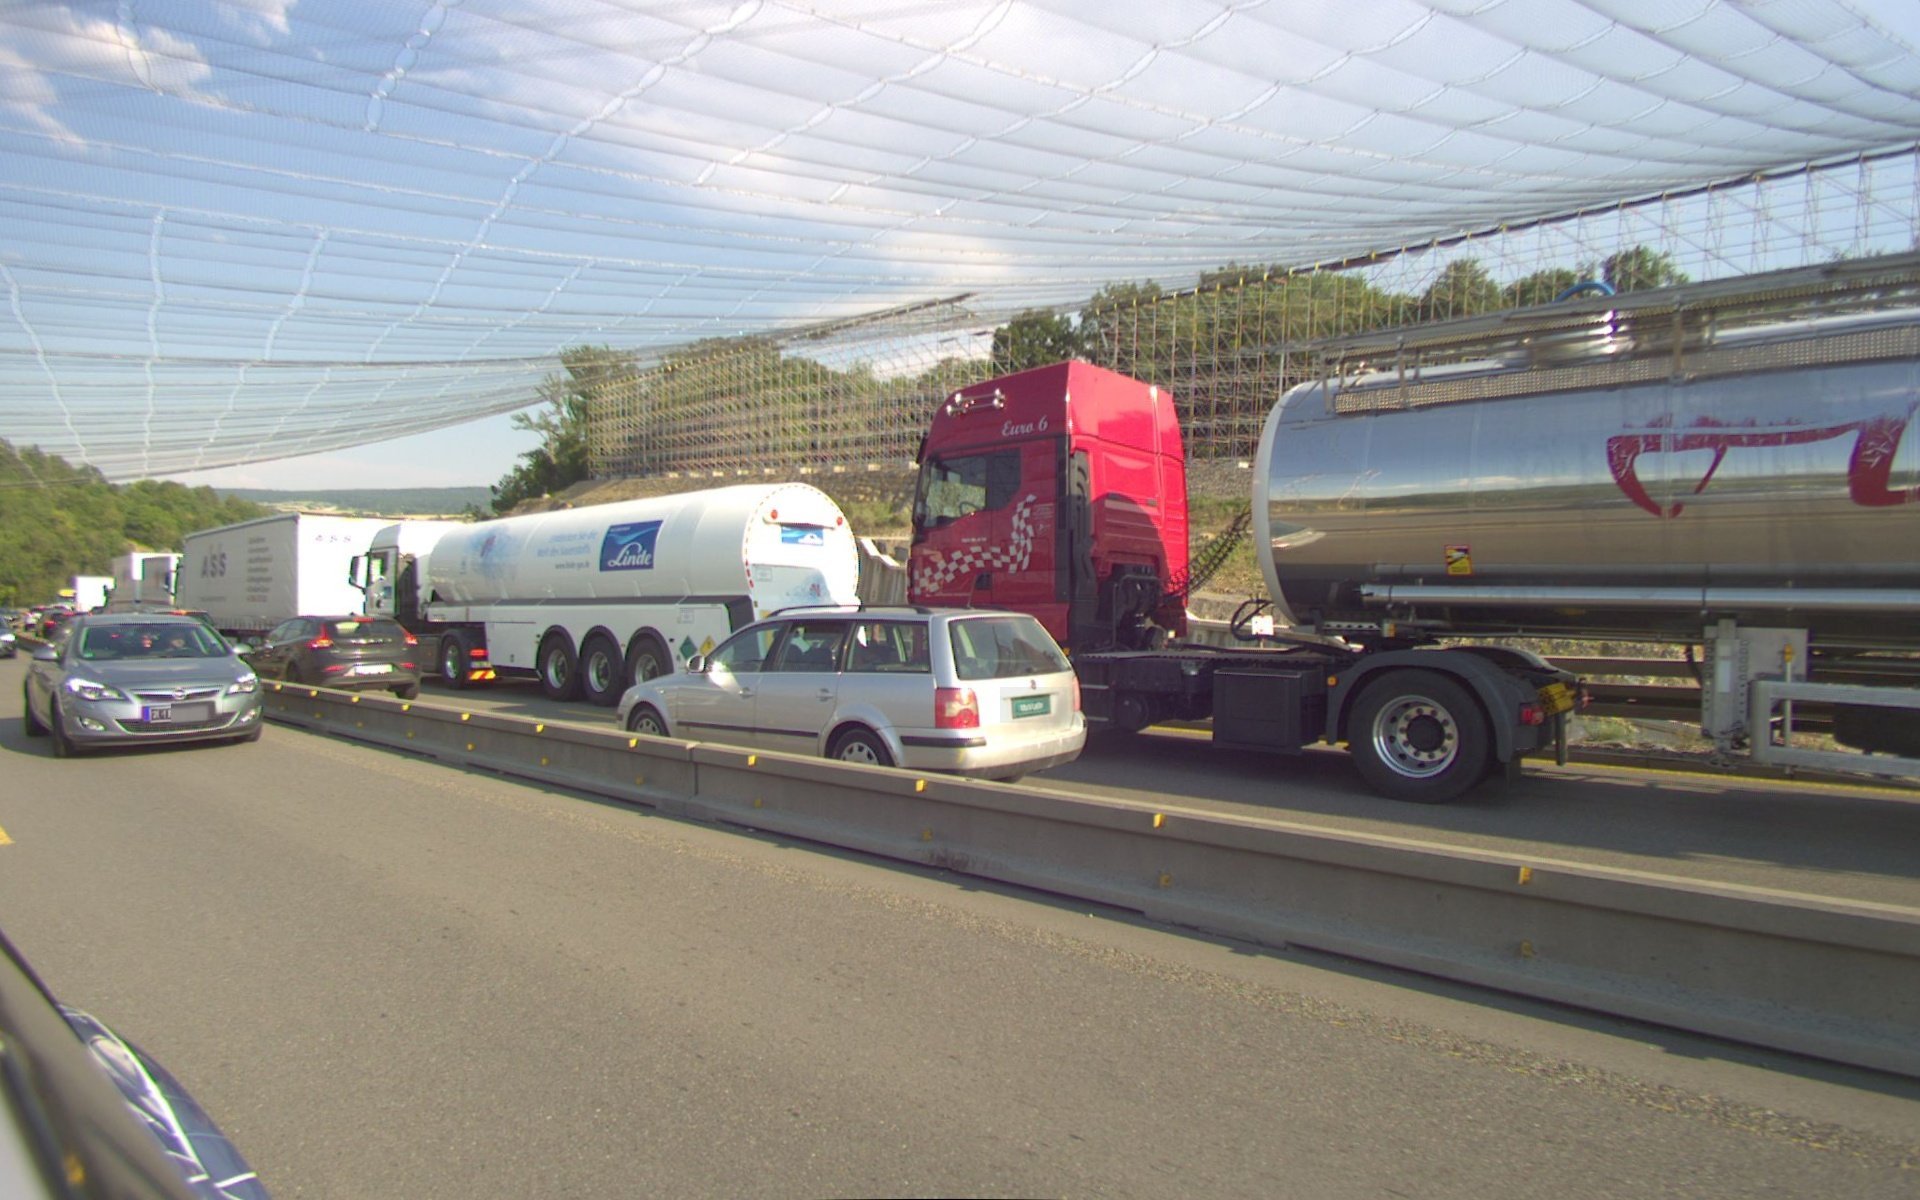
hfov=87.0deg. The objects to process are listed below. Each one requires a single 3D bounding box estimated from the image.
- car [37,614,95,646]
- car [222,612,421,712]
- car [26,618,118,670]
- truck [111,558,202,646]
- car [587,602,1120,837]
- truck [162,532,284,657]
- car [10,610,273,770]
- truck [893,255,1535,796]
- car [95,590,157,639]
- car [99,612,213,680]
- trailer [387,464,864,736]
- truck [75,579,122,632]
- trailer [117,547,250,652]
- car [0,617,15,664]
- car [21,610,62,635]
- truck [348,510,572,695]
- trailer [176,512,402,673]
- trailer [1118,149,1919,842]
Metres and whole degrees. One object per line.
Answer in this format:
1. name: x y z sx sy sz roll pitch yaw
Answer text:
1. car: -40.287 1.325 45.568 3.900 1.386 1.590 0 -1 43
2. car: -10.670 0.930 16.779 4.385 1.437 1.610 0 -1 41
3. car: -26.914 1.269 30.623 4.245 1.408 1.773 -1 -1 44
4. truck: -38.801 0.097 48.775 7.208 3.939 2.601 -1 -1 45
5. car: -1.111 0.746 8.318 4.654 1.437 1.611 0 -1 40
6. truck: -26.040 -0.158 35.669 5.617 4.076 2.447 -1 -1 43
7. car: -9.509 0.863 11.619 4.352 1.484 1.737 0 -1 43
8. truck: 2.194 -0.511 9.873 5.613 3.813 2.408 0 -1 40
9. car: -49.035 0.814 59.452 2.215 2.733 7.087 0 -1 -44
10. car: -20.600 1.114 25.877 3.943 1.599 1.731 0 -1 43
11. trailer: -6.562 0.037 17.556 12.051 3.387 2.282 0 -1 43
12. truck: -74.394 0.488 87.274 2.688 4.259 14.186 0 -1 -42
13. trailer: -34.491 0.009 44.651 13.335 4.046 2.640 0 -1 44
14. car: -31.113 1.262 31.927 3.824 1.394 1.740 -1 -1 45
15. car: -61.634 1.498 67.902 4.367 1.580 1.788 -1 -1 44
16. truck: -10.663 0.056 21.360 5.616 3.395 2.388 -1 -1 42
17. trailer: -20.851 -0.150 30.805 14.097 3.993 2.401 0 -1 43
18. trailer: 6.667 -0.578 5.881 12.047 3.819 2.283 0 -1 41
